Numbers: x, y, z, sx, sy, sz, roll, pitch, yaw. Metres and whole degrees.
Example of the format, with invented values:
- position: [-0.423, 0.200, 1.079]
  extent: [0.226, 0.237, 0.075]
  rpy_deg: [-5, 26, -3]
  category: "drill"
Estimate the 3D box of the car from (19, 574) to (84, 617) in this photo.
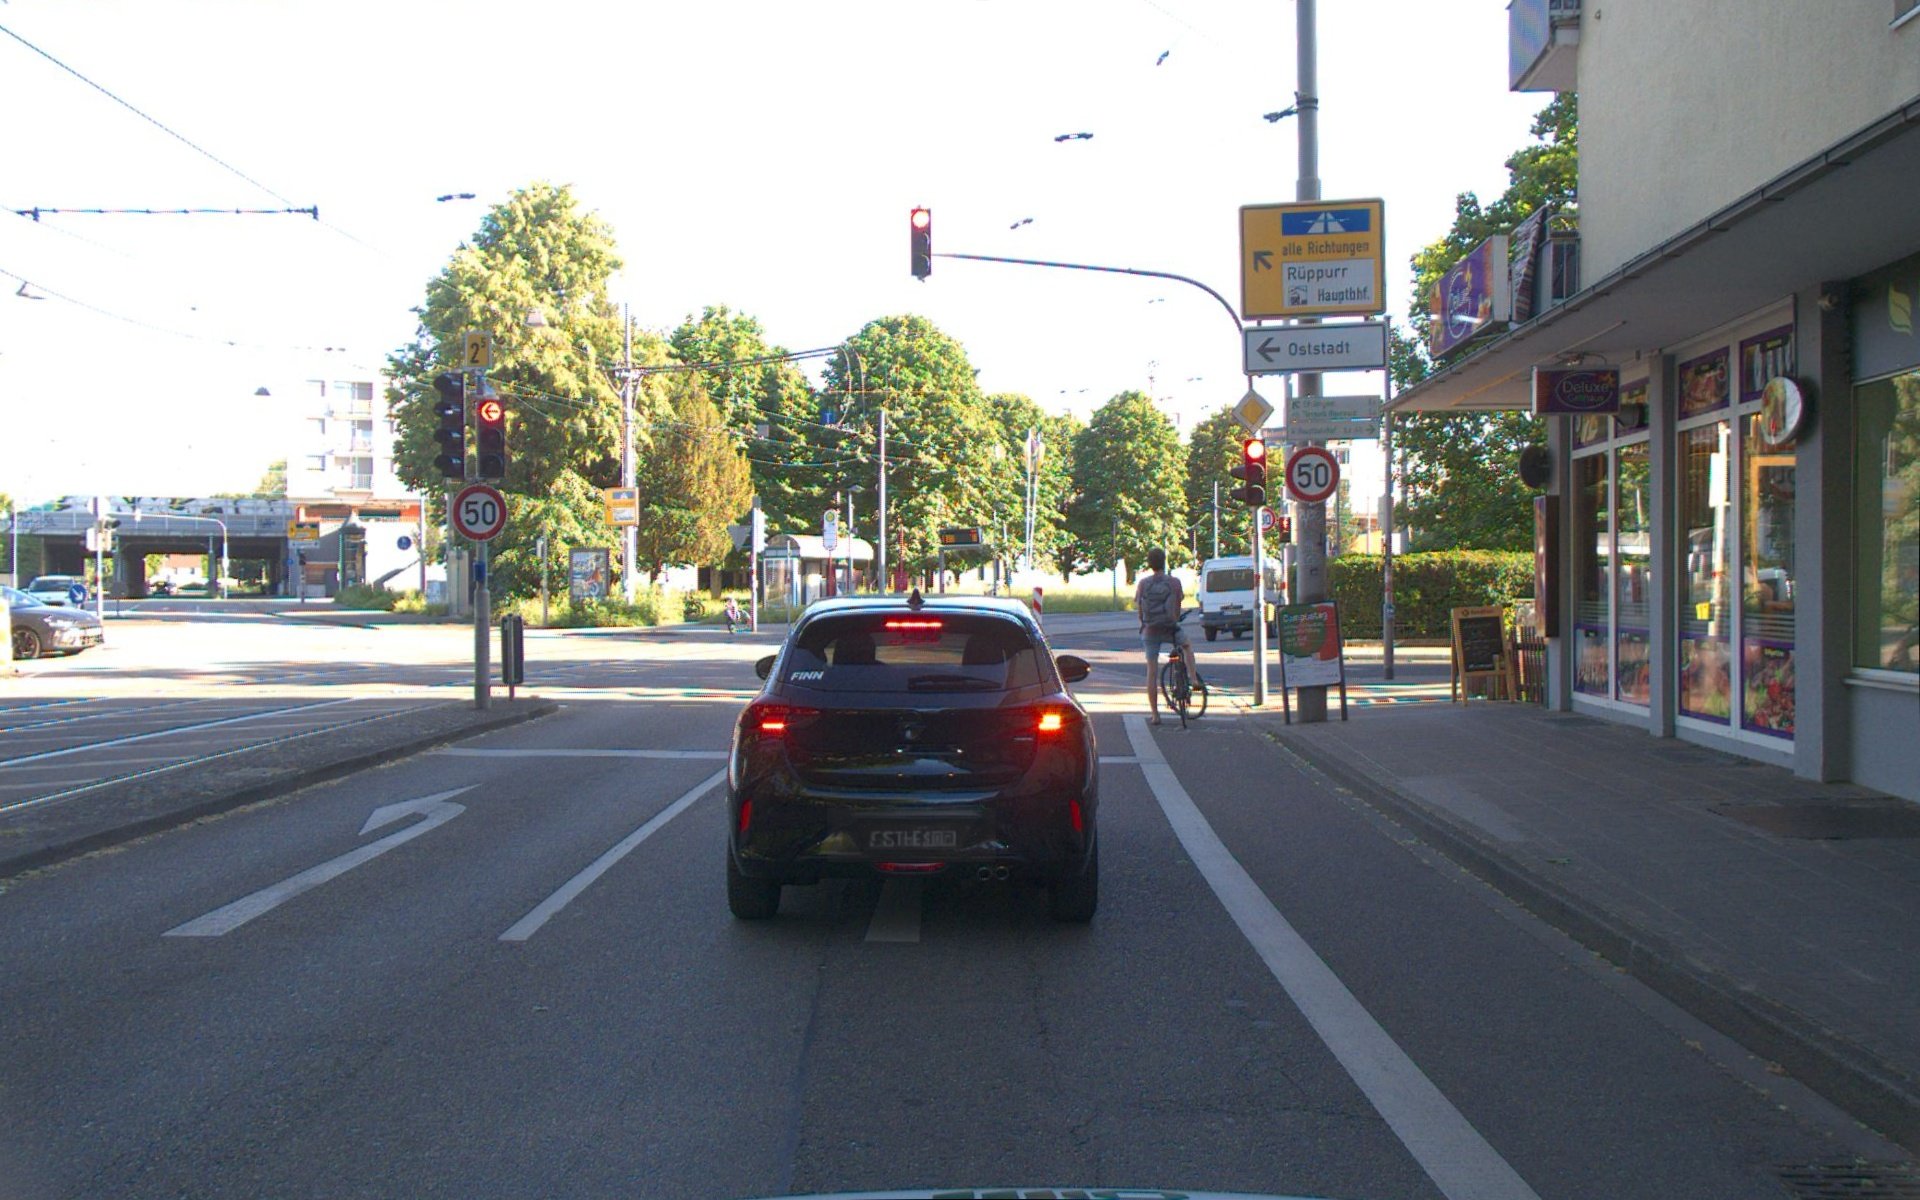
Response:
- position: [-35.488, -0.168, 64.708]
  extent: [1.860, 1.613, 3.809]
  rpy_deg: [1, 0, -24]
  category: "car"

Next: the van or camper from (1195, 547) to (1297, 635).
- position: [8.081, -0.226, 46.435]
  extent: [1.987, 2.351, 4.540]
  rpy_deg: [1, 0, 20]
  category: "van or camper"

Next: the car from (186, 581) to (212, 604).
- position: [-59.238, -0.580, 128.777]
  extent: [1.732, 1.713, 3.712]
  rpy_deg: [1, 0, -25]
  category: "car"

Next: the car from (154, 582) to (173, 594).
- position: [-85.720, -1.275, 177.968]
  extent: [1.562, 1.282, 3.394]
  rpy_deg: [-1, 1, -30]
  category: "car"

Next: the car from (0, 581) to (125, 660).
- position: [-19.203, 0.378, 32.507]
  extent: [4.626, 1.499, 1.941]
  rpy_deg: [0, 1, 4]
  category: "car"

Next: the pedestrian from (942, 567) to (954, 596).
- position: [-0.780, -1.212, 109.796]
  extent: [0.597, 1.904, 0.514]
  rpy_deg: [1, -1, -30]
  category: "pedestrian"

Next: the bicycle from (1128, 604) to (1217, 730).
- position: [2.330, 0.689, 17.963]
  extent: [0.737, 1.256, 2.017]
  rpy_deg: [0, 1, 14]
  category: "bicycle"

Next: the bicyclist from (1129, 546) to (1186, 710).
- position: [2.125, 0.294, 17.757]
  extent: [0.522, 1.722, 0.568]
  rpy_deg: [0, 0, 16]
  category: "bicyclist"

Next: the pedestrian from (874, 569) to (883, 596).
- position: [-5.833, -1.267, 117.903]
  extent: [0.592, 1.904, 0.519]
  rpy_deg: [1, -1, -7]
  category: "pedestrian"

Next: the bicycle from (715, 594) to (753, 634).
- position: [-6.320, 0.383, 46.299]
  extent: [0.780, 1.083, 2.184]
  rpy_deg: [0, 1, -1]
  category: "bicycle"

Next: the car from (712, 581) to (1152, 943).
- position: [-0.140, 0.648, 8.798]
  extent: [1.803, 1.487, 3.983]
  rpy_deg: [0, 1, -1]
  category: "car"

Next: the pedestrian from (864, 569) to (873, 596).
- position: [-6.551, -1.278, 118.302]
  extent: [0.592, 1.904, 0.519]
  rpy_deg: [1, -1, -7]
  category: "pedestrian"
